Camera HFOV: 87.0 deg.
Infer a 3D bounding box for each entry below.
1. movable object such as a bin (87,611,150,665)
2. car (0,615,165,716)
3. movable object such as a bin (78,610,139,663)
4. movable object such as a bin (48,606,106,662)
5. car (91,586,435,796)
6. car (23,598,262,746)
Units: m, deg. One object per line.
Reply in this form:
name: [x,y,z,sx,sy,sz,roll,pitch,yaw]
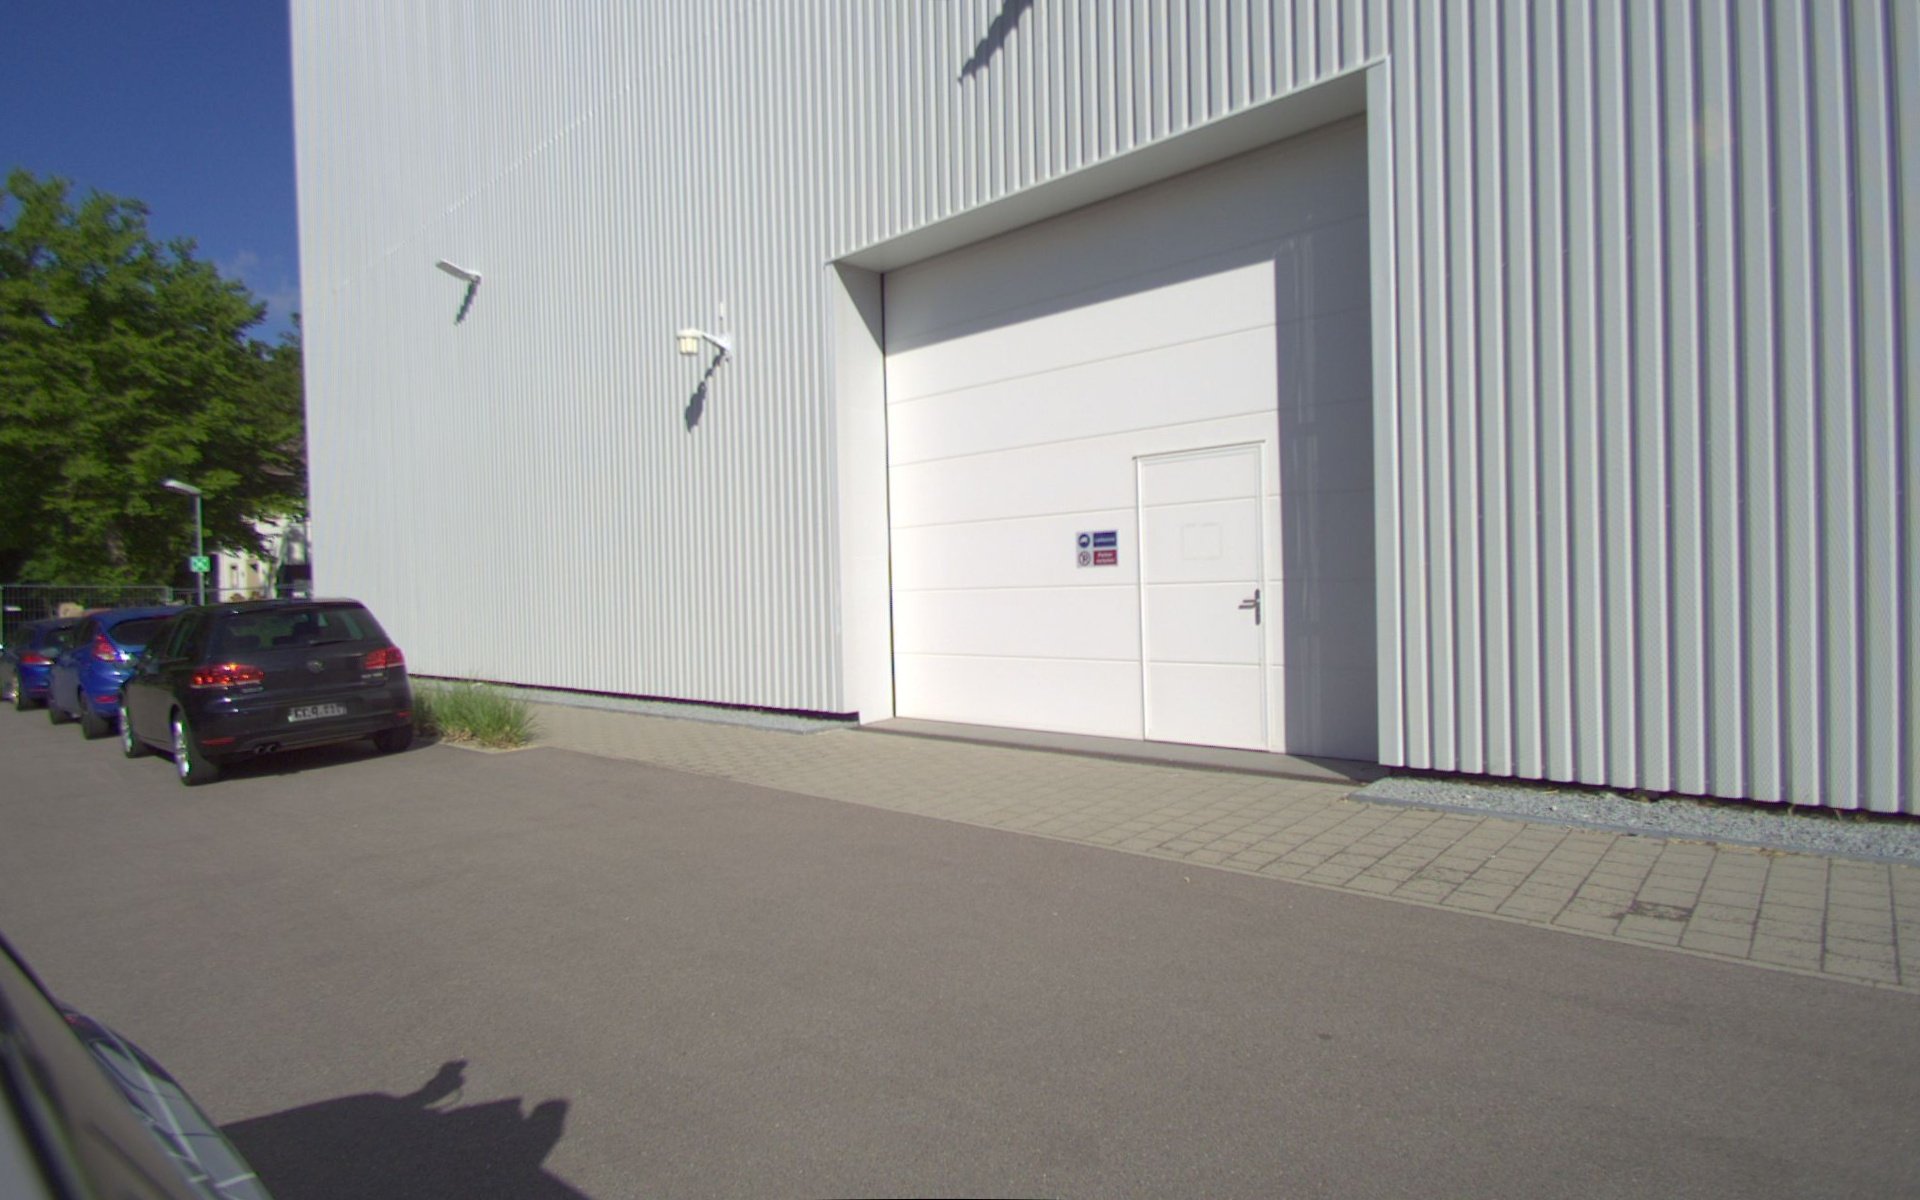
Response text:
movable object such as a bin: [-24.198,1.067,29.106,1.228,1.443,1.080,-1,2,36]
car: [-14.585,0.984,16.530,4.051,1.371,1.756,-1,1,41]
movable object such as a bin: [-25.216,1.055,29.968,1.228,1.450,1.080,-1,2,36]
movable object such as a bin: [-26.939,1.009,30.882,1.228,1.609,1.080,1,2,36]
car: [-6.840,0.715,9.739,4.293,1.511,1.736,-1,2,42]
car: [-10.540,0.817,12.941,4.092,1.511,1.614,-1,3,41]
